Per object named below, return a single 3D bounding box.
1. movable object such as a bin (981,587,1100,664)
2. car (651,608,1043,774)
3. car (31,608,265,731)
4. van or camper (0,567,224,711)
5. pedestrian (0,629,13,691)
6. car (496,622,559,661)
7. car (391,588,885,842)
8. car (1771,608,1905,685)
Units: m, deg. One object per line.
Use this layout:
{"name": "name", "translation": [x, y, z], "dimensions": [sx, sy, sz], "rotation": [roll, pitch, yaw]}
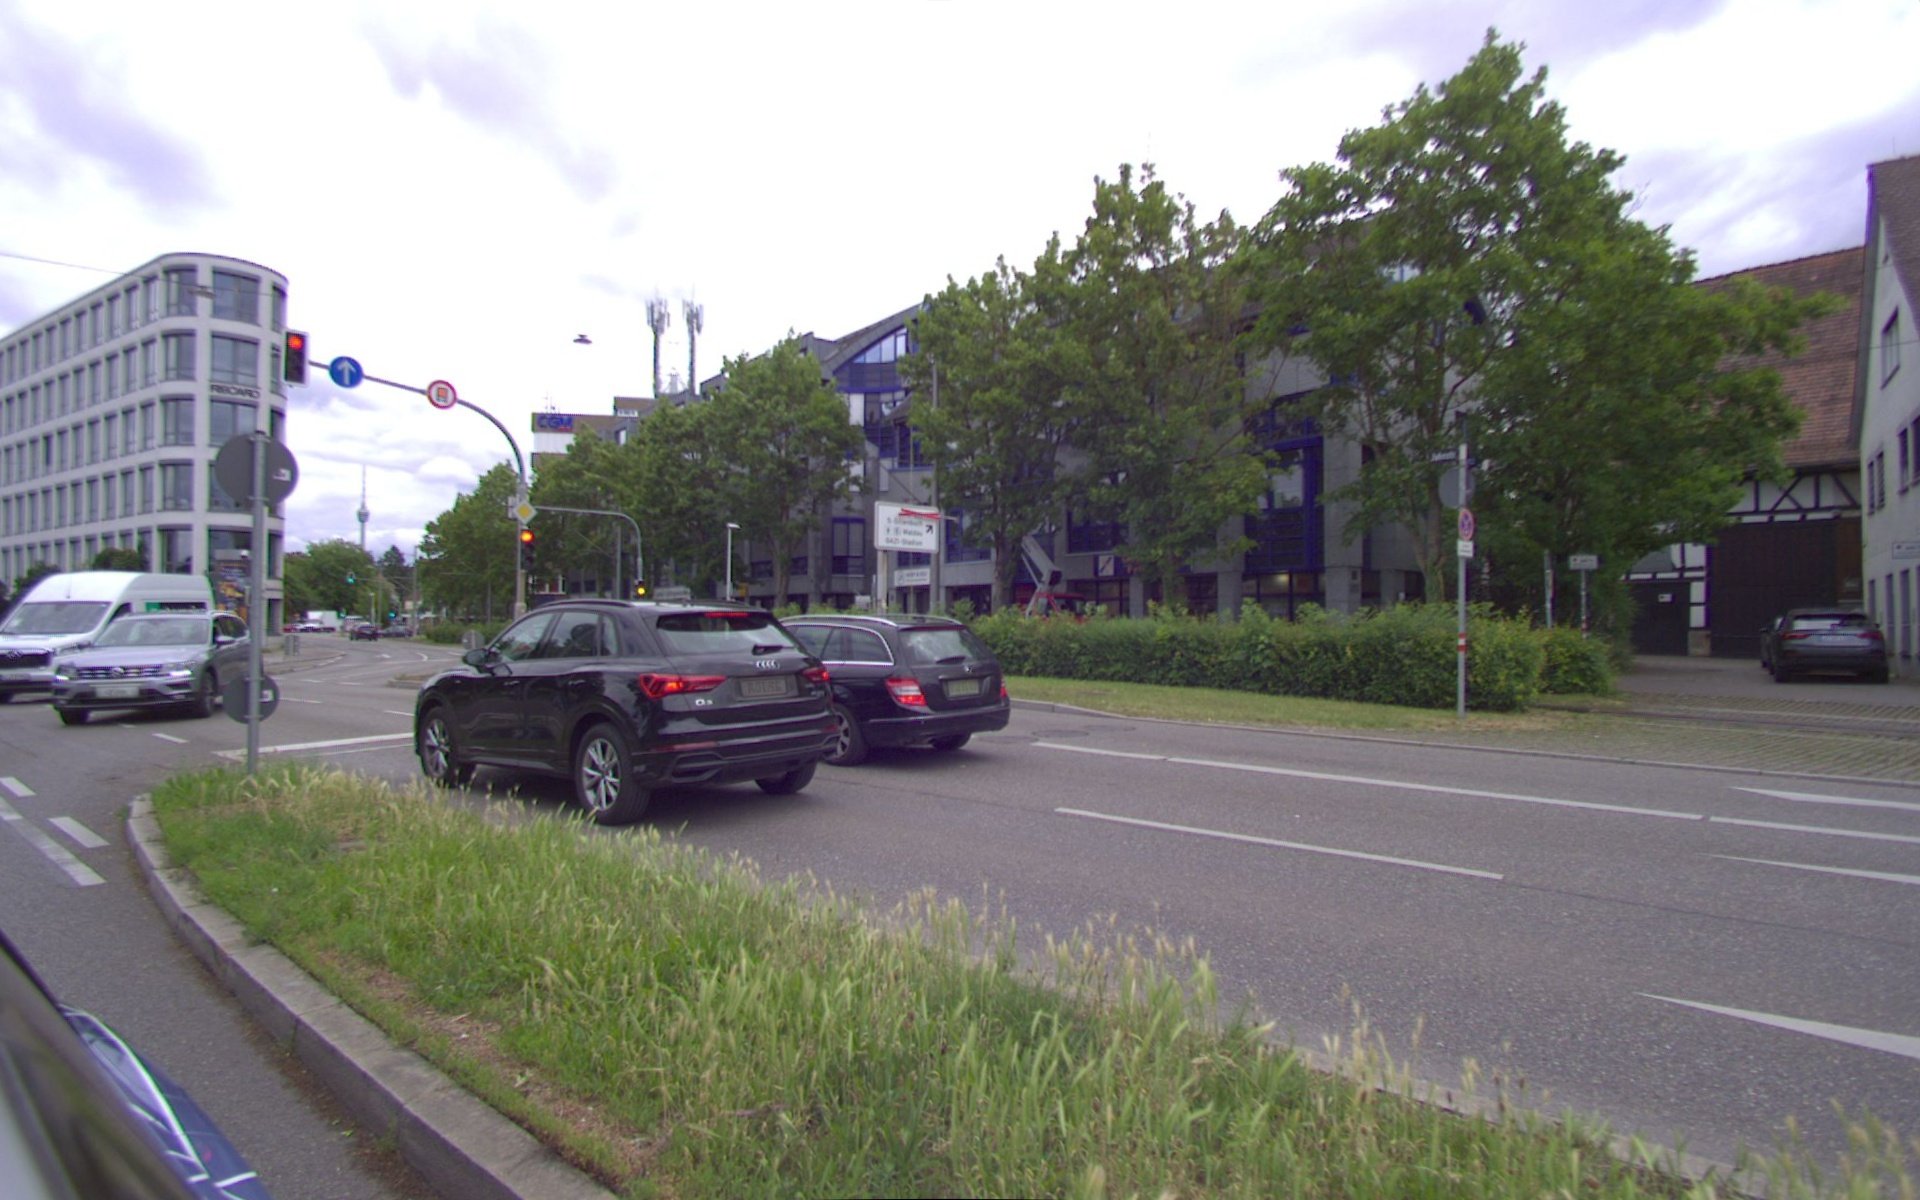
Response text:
{"name": "movable object such as a bin", "translation": [2.775, 0.882, 35.635], "dimensions": [1.880, 2.551, 4.135], "rotation": [1, -2, -38]}
{"name": "car", "translation": [-1.396, 0.884, 11.035], "dimensions": [4.394, 1.436, 1.764], "rotation": [-3, -2, 42]}
{"name": "car", "translation": [-12.783, 1.003, 16.260], "dimensions": [1.803, 1.658, 4.340], "rotation": [-1, -1, -23]}
{"name": "van or camper", "translation": [-18.842, 0.796, 22.130], "dimensions": [2.077, 2.710, 6.315], "rotation": [-1, -1, -13]}
{"name": "pedestrian", "translation": [-29.935, 1.865, 31.411], "dimensions": [0.588, 1.932, 0.746], "rotation": [-3, -2, 43]}
{"name": "car", "translation": [-18.459, 1.744, 43.091], "dimensions": [1.758, 1.549, 4.408], "rotation": [-1, -1, -32]}
{"name": "car", "translation": [-2.863, 0.787, 8.447], "dimensions": [4.392, 1.576, 1.869], "rotation": [-3, -2, 40]}
{"name": "car", "translation": [18.599, 0.943, 21.599], "dimensions": [1.856, 1.436, 3.952], "rotation": [-3, -2, 37]}
